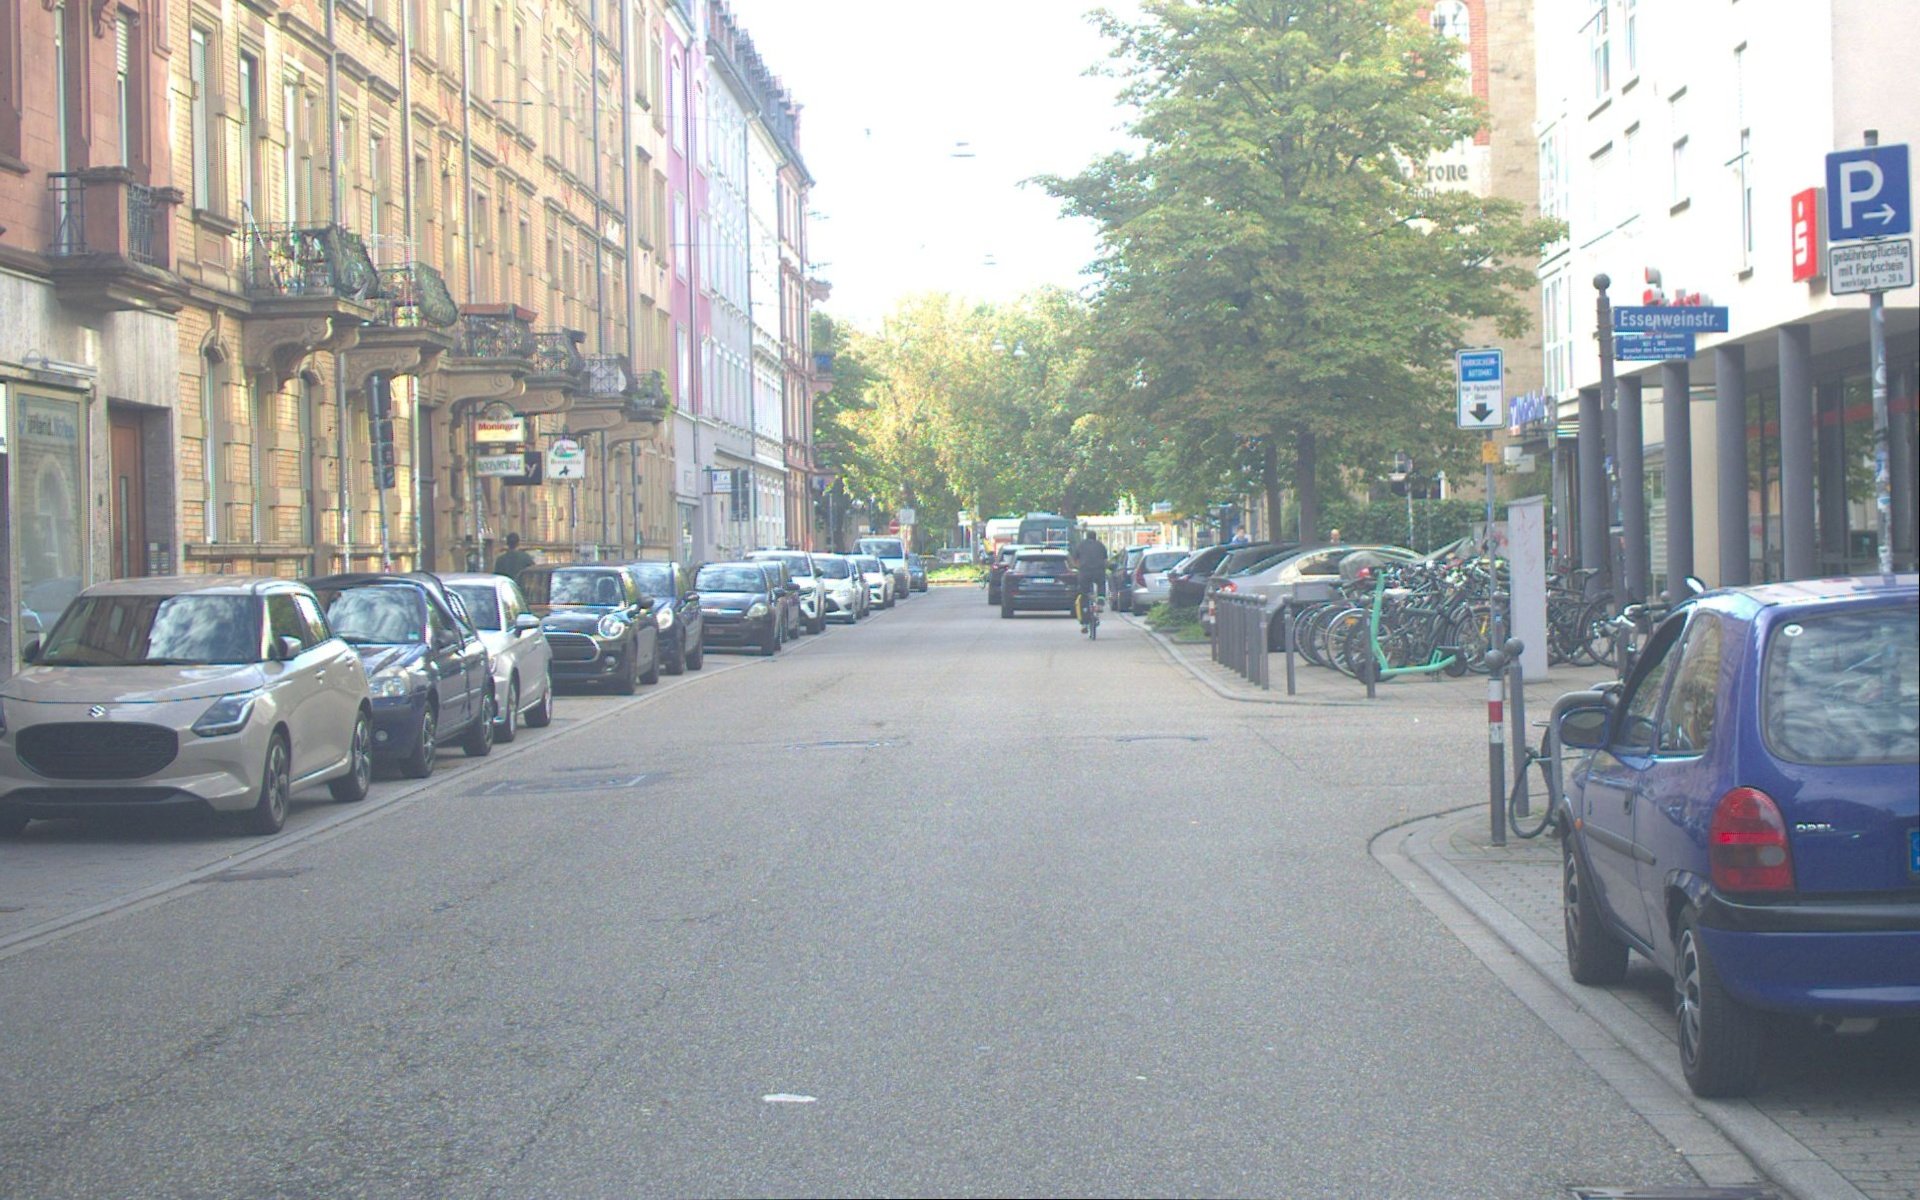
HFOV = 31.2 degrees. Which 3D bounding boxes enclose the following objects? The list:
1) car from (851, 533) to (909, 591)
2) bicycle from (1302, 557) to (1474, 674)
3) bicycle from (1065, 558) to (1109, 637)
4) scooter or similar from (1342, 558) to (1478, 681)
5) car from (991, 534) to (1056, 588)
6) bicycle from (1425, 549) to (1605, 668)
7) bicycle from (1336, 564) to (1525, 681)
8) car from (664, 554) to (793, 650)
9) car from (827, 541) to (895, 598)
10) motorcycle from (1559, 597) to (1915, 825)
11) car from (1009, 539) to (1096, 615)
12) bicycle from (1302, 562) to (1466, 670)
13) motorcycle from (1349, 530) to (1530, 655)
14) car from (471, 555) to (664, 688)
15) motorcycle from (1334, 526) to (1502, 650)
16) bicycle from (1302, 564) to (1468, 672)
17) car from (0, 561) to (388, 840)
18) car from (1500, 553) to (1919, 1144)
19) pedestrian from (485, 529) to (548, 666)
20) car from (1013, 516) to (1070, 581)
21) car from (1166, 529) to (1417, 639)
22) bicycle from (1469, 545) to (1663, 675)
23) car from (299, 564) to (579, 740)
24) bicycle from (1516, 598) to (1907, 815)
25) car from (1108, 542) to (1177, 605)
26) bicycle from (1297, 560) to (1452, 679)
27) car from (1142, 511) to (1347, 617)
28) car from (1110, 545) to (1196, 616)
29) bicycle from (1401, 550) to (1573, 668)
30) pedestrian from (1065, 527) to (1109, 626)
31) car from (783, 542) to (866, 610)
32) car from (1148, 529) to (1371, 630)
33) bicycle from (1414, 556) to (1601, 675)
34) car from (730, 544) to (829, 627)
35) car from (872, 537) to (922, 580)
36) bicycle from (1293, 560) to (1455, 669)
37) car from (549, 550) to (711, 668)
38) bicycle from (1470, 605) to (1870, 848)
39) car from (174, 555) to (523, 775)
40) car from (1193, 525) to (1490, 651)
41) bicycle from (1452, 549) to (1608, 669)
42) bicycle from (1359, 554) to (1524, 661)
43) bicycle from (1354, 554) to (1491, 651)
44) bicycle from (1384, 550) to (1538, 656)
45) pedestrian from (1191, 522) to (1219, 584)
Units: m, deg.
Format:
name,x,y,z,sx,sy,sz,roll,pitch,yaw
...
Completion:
name,x,y,z,sx,sy,sz,roll,pitch,yaw
car,-2.573,-1.231,111.294,1.690,1.815,3.867,0,1,1
bicycle,4.599,0.159,36.918,1.765,1.142,0.411,-4,1,-18
bicycle,2.129,-0.052,57.604,0.718,1.270,1.884,0,1,2
scooter or similar,4.419,0.194,33.774,1.207,1.143,0.378,-3,2,34
car,1.763,-1.107,96.530,1.797,1.467,3.888,0,1,1
bicycle,5.857,0.088,36.301,1.765,1.142,0.411,-4,1,-4
bicycle,4.700,0.221,34.378,1.765,1.053,0.411,-3,1,-3
car,-3.688,0.007,55.321,1.690,1.364,3.867,3,2,1
car,-2.717,-0.851,94.766,1.690,1.545,3.867,0,1,1
motorcycle,3.957,0.562,17.584,1.664,1.091,0.607,-2,1,45
car,2.188,-0.531,81.134,1.965,1.735,4.041,-1,0,2
bicycle,4.806,0.183,39.020,1.766,1.115,0.411,-3,1,5
motorcycle,6.013,-0.104,43.204,2.151,1.430,0.765,-3,1,6
car,-4.403,0.212,39.028,1.690,1.382,3.867,0,1,1
motorcycle,6.148,-0.163,46.236,2.151,1.525,0.686,-3,1,6
bicycle,4.725,0.200,38.278,1.766,1.095,0.411,-3,1,5
car,-4.739,0.535,20.996,1.742,1.478,3.983,0,1,1
car,2.740,0.612,10.795,1.595,1.434,4.030,-2,1,3
pedestrian,-6.032,-0.045,46.771,0.689,1.847,0.931,0,1,3
car,2.585,-1.651,109.607,1.782,2.013,3.888,0,1,1
car,5.505,-0.272,56.982,3.988,1.578,2.000,-3,1,7
bicycle,5.965,0.093,33.926,1.766,1.158,0.650,-3,1,4
car,-4.475,0.404,30.037,1.690,1.382,3.867,0,1,3
bicycle,4.022,0.568,18.521,1.962,1.091,0.688,-2,0,45
car,4.561,-0.671,86.229,1.690,1.545,3.688,0,1,2
bicycle,4.307,0.198,35.756,1.495,1.142,0.411,-3,1,-3
car,5.759,-0.731,69.449,3.988,1.678,1.737,-3,9,6
car,4.560,-0.478,81.696,1.930,1.632,4.000,0,1,2
bicycle,5.647,0.094,36.812,1.765,1.142,0.411,-4,1,-18
pedestrian,2.134,-0.397,57.692,0.718,1.644,0.930,0,1,3
car,-3.115,-0.569,79.689,1.690,1.545,3.867,0,1,1
car,5.610,-0.392,64.130,3.988,1.634,2.000,-3,1,7
bicycle,5.561,0.153,34.989,1.766,1.083,0.650,-3,1,4
car,-3.526,-0.309,67.703,1.690,1.545,3.867,1,1,1
car,-2.307,-1.521,126.365,1.690,1.545,3.867,0,1,1
bicycle,4.801,0.163,39.955,1.794,1.155,0.500,-3,1,5
car,-4.275,0.082,44.985,1.690,1.432,3.867,0,1,1
bicycle,3.414,0.602,16.643,1.769,1.091,0.682,-2,1,45
car,-4.508,0.426,25.903,1.742,1.478,3.983,0,1,3
car,5.353,-0.163,48.491,3.759,1.541,1.731,-3,0,-8
bicycle,5.922,0.091,35.760,1.495,1.142,0.411,-3,1,2
bicycle,5.647,0.092,40.330,1.797,1.155,0.499,-3,1,28
bicycle,5.984,0.031,44.553,1.664,1.155,0.557,-3,1,4
bicycle,6.019,0.034,41.311,1.732,1.155,0.500,-3,1,4
pedestrian,8.827,-1.684,123.986,0.995,2.222,0.898,0,1,3
